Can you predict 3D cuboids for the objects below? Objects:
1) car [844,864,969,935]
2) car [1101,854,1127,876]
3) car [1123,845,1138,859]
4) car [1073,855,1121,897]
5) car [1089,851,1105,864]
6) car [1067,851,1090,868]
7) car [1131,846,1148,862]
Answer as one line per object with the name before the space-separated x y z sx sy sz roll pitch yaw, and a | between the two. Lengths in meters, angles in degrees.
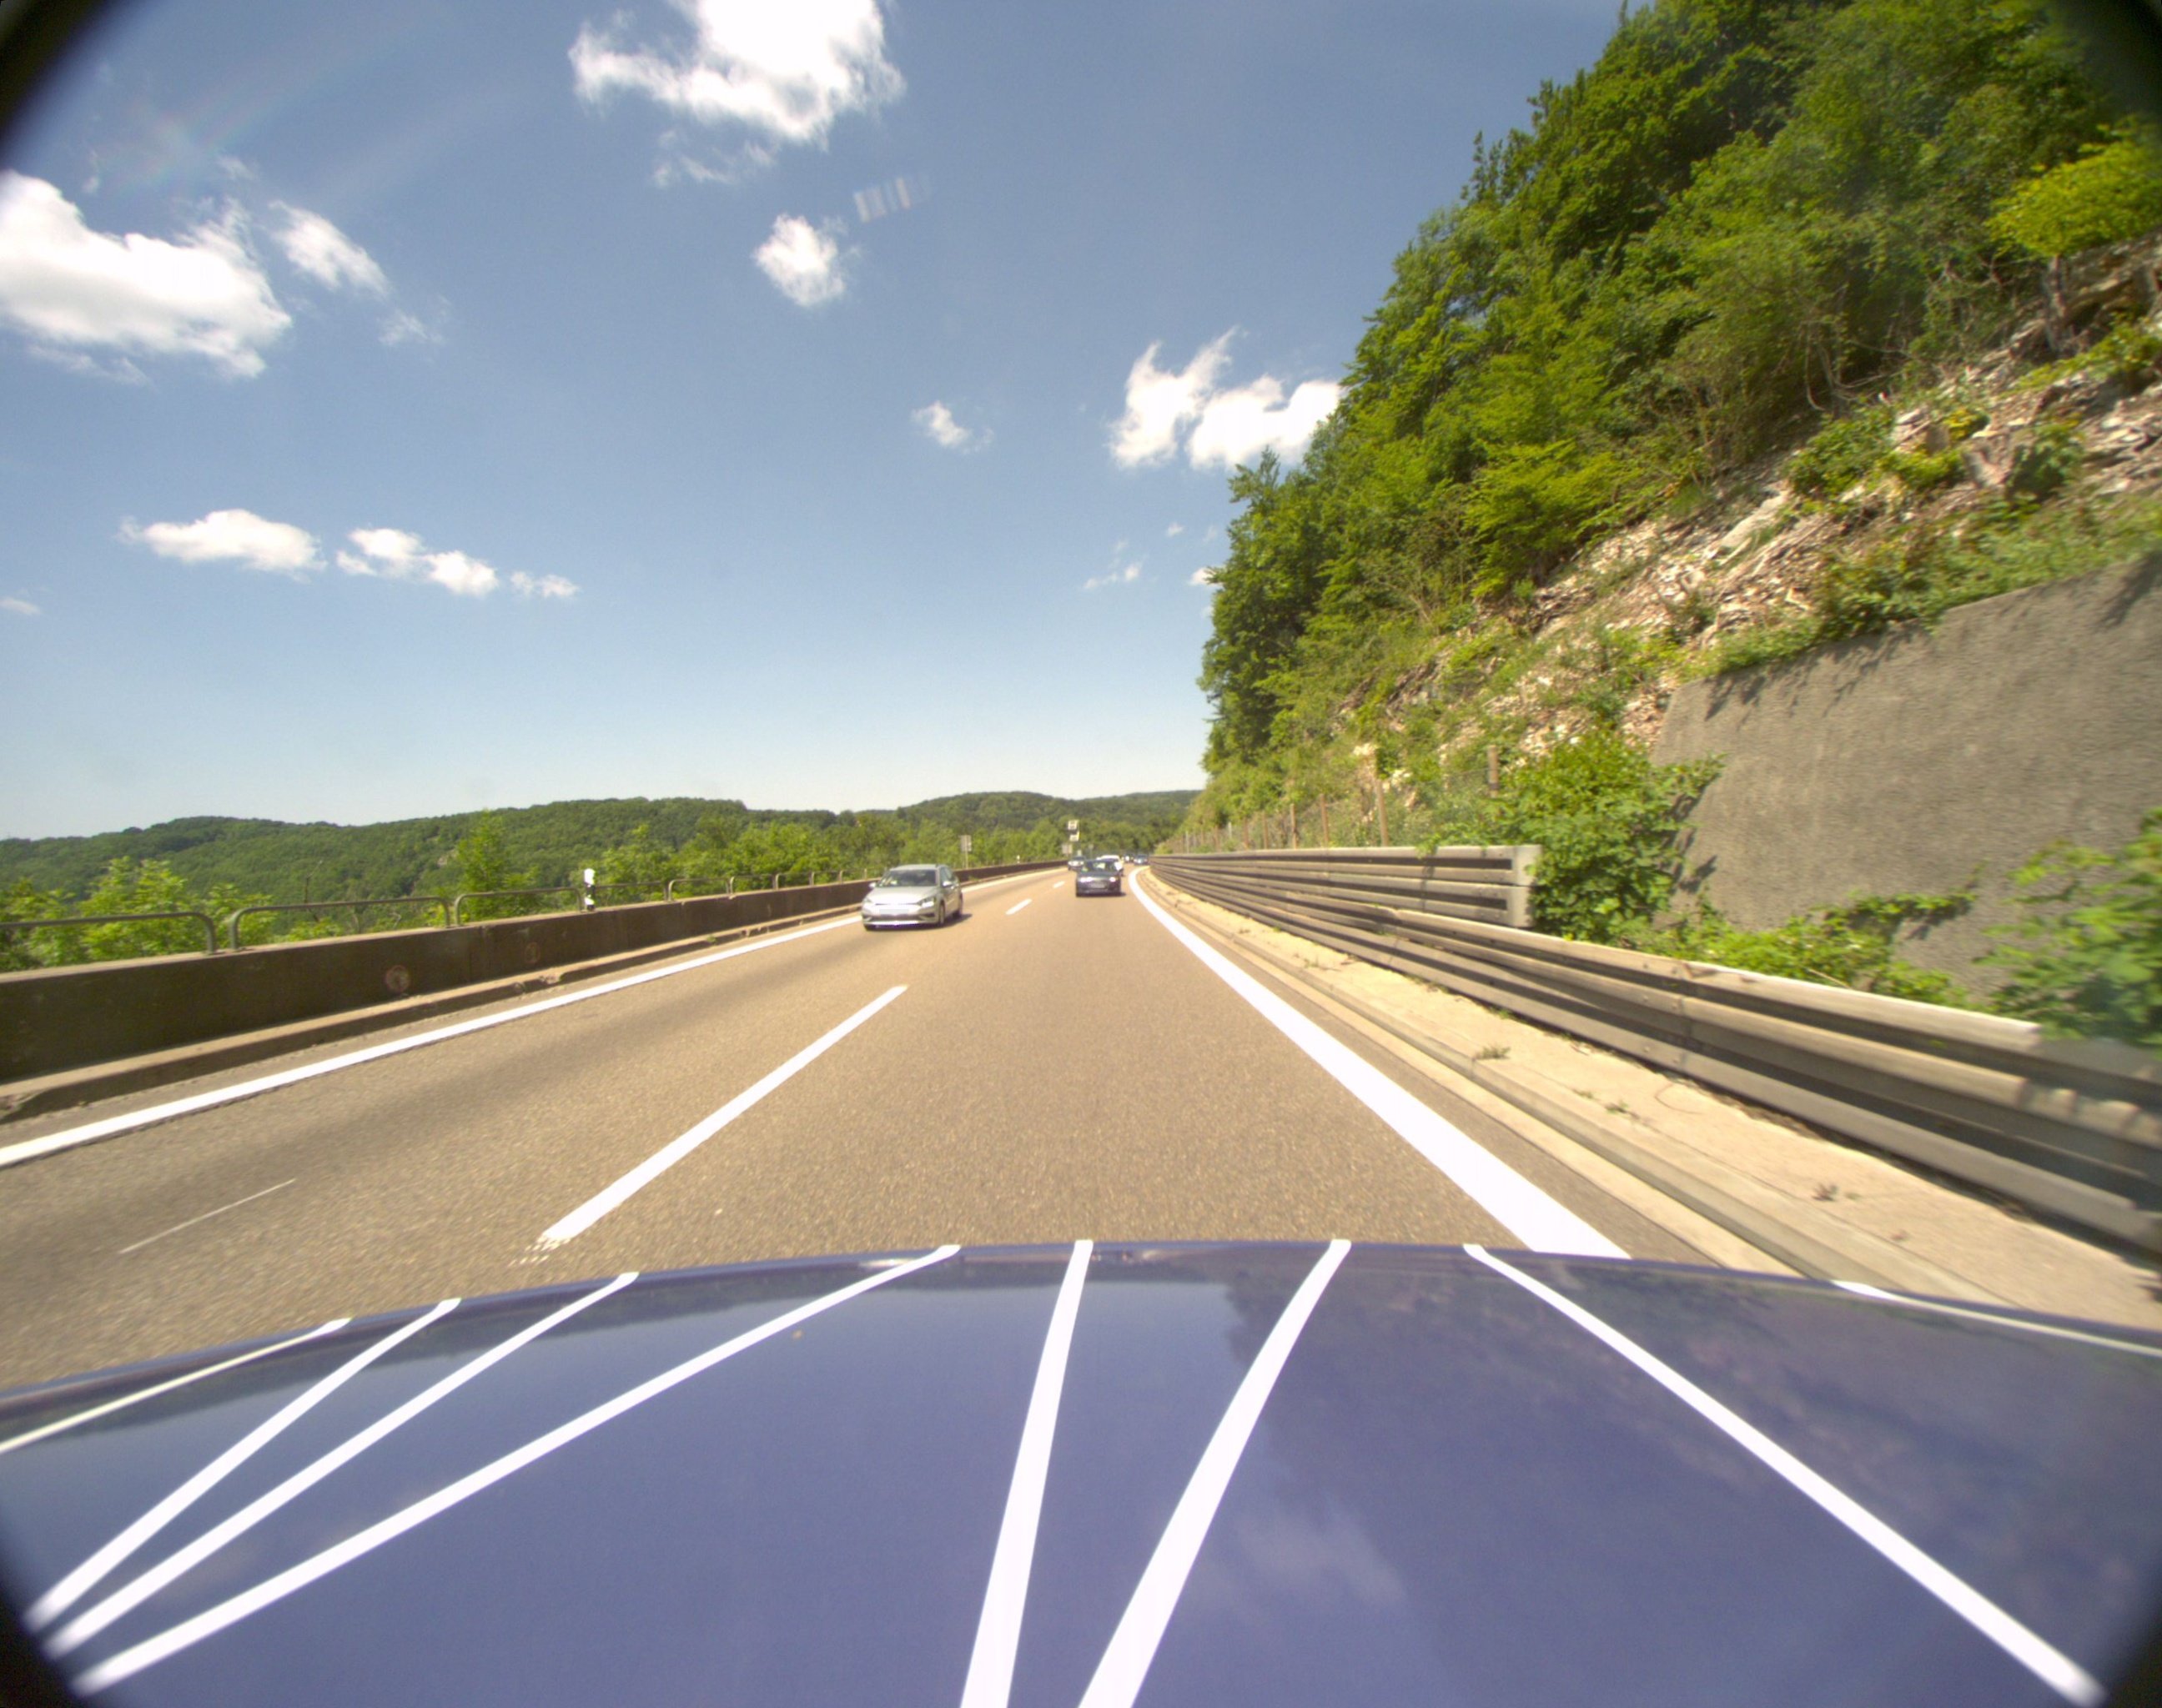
car | -4.083 1.014 18.560 1.972 1.370 4.293 -1 1 1
car | 2.415 0.749 54.456 1.702 1.432 4.044 -1 1 5
car | 7.493 -0.277 114.828 1.998 2.002 4.001 -1 1 5
car | 0.679 0.803 29.580 1.668 1.415 4.044 0 1 4
car | 2.088 0.404 99.526 1.775 1.565 4.001 -2 0 5
car | -0.228 0.554 77.702 1.875 1.565 4.001 -2 0 5
car | 7.672 -0.003 98.711 1.997 2.002 4.002 -2 0 6
